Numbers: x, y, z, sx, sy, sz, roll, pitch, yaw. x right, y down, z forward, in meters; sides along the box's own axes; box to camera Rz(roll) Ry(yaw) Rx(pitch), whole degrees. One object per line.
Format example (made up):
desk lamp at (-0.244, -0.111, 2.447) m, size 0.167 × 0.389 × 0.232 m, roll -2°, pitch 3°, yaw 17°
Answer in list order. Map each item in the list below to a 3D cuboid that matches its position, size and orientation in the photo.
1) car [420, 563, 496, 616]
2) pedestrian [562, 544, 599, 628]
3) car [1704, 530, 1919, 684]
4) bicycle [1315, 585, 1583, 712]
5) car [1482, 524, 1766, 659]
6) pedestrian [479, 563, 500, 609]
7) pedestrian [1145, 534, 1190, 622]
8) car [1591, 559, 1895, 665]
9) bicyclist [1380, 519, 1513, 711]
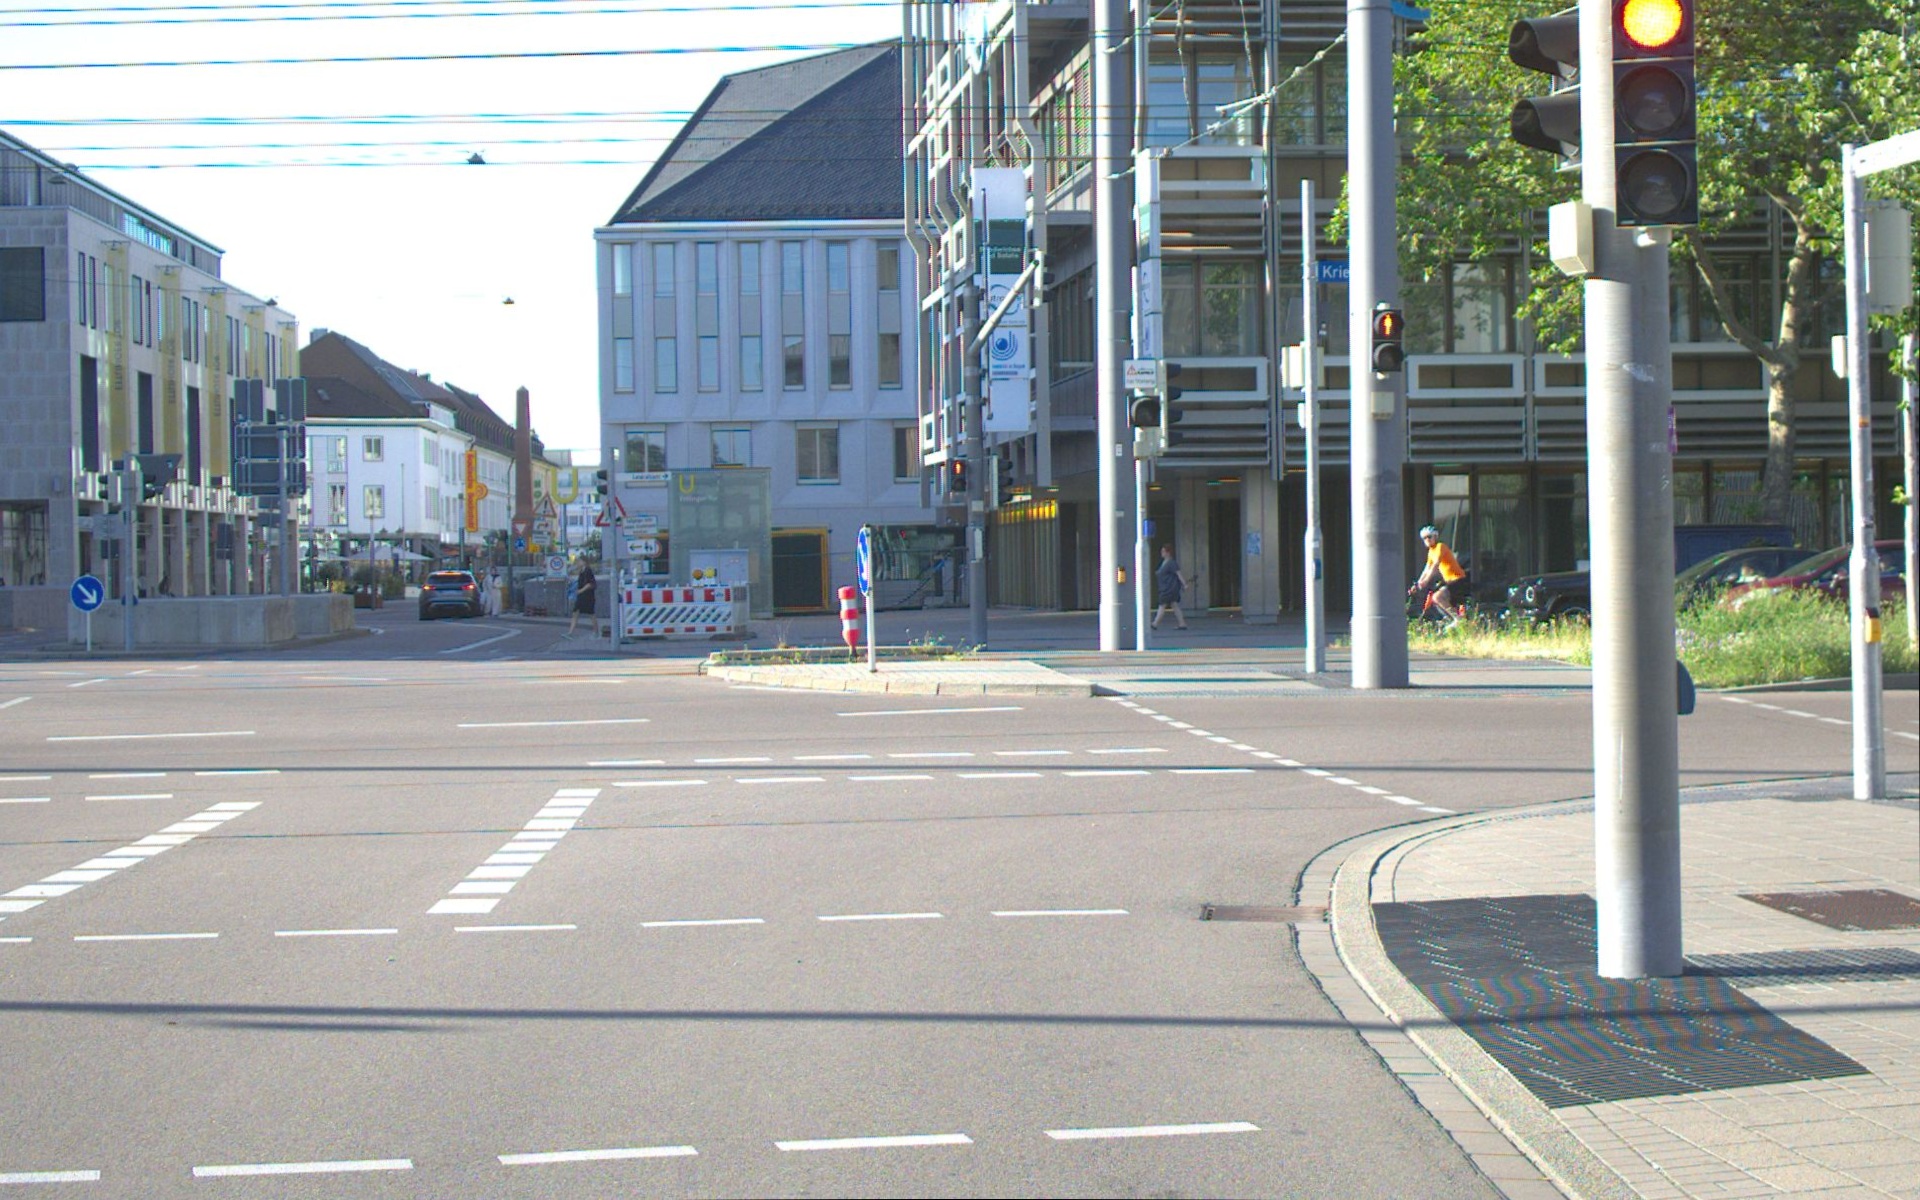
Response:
car at (-15.804, -0.349, 108.421) m, size 2.199 × 1.601 × 4.327 m, roll -1°, pitch 1°, yaw -6°
pedestrian at (-7.507, -0.277, 68.086) m, size 0.663 × 1.652 × 0.755 m, roll -1°, pitch 1°, yaw -3°
car at (12.291, 0.091, 46.408) m, size 3.986 × 2.007 × 2.000 m, roll 1°, pitch 0°, yaw -3°
bicycle at (6.697, 0.653, 47.145) m, size 3.490 × 1.653 × 0.932 m, roll -1°, pitch 1°, yaw -9°
car at (10.349, -0.140, 53.776) m, size 3.986 × 2.007 × 2.000 m, roll 1°, pitch 0°, yaw -3°
pedestrian at (-14.479, -0.426, 105.874) m, size 0.609 × 1.406 × 0.570 m, roll -1°, pitch 1°, yaw -6°
pedestrian at (3.960, -0.420, 65.632) m, size 0.729 × 1.652 × 0.651 m, roll -1°, pitch 1°, yaw -7°
car at (11.497, 0.162, 50.659) m, size 3.986 × 1.503 × 1.868 m, roll 0°, pitch 1°, yaw -3°
bicyclist at (6.665, 0.193, 47.139) m, size 1.567 × 2.571 × 0.932 m, roll -1°, pitch 1°, yaw -9°
